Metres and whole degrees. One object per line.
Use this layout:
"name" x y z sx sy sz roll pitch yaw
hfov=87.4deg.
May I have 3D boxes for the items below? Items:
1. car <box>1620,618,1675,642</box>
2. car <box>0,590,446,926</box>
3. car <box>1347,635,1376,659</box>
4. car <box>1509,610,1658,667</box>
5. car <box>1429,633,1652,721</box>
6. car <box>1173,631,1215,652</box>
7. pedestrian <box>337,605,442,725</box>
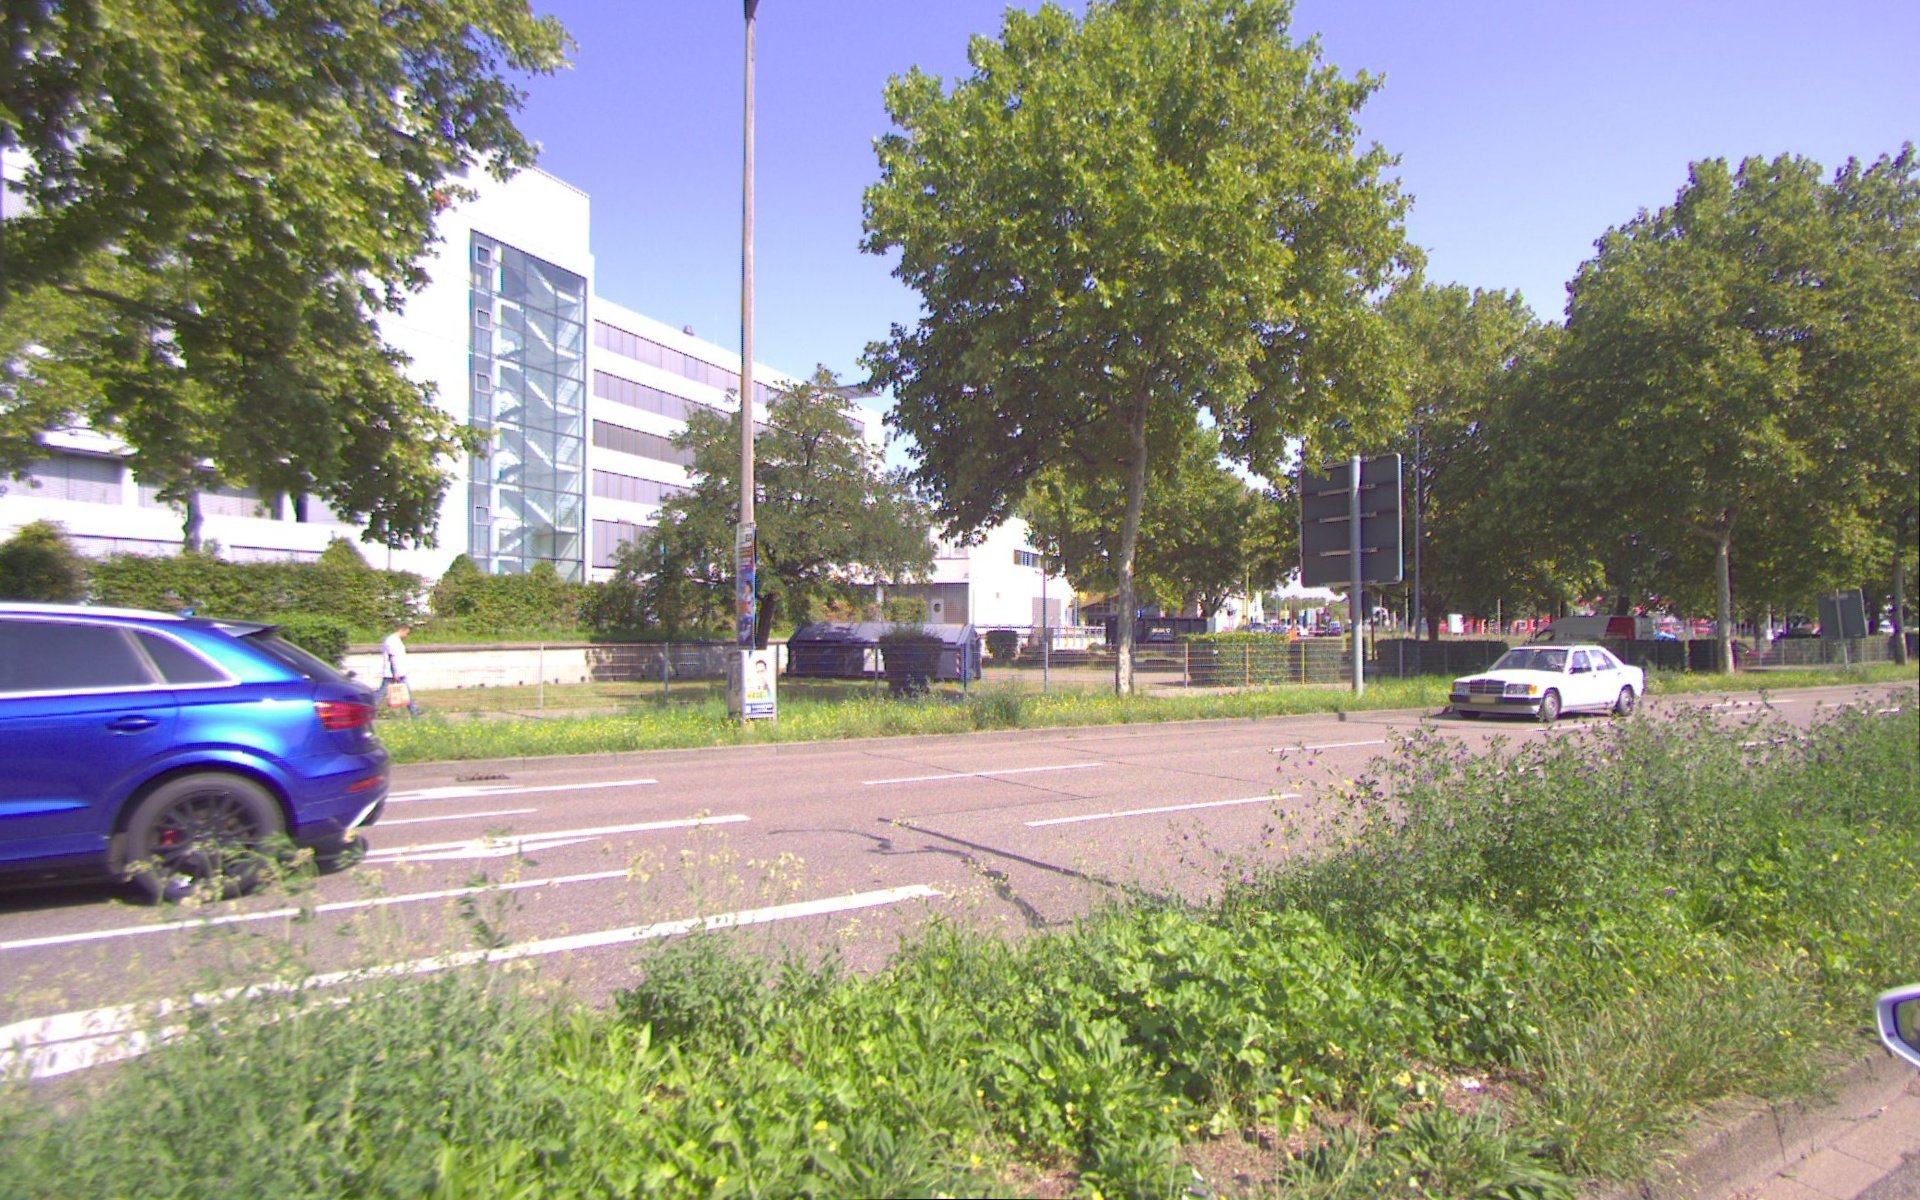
"car" 61.777 2.670 90.343 3.928 2.041 1.996 0 1 29
"car" -5.321 0.799 5.539 4.297 1.605 1.984 1 -3 -32
"car" 29.622 3.462 74.106 1.895 1.472 3.997 -1 1 23
"car" 29.202 1.727 47.235 2.253 2.369 5.553 -2 1 -32
"car" 11.110 1.411 19.165 4.360 1.435 1.786 0 -3 -31
"car" 24.326 4.273 104.552 3.924 2.041 1.998 -1 1 24
"pedestrian" -10.149 1.123 17.923 0.995 2.041 1.269 -1 1 12
